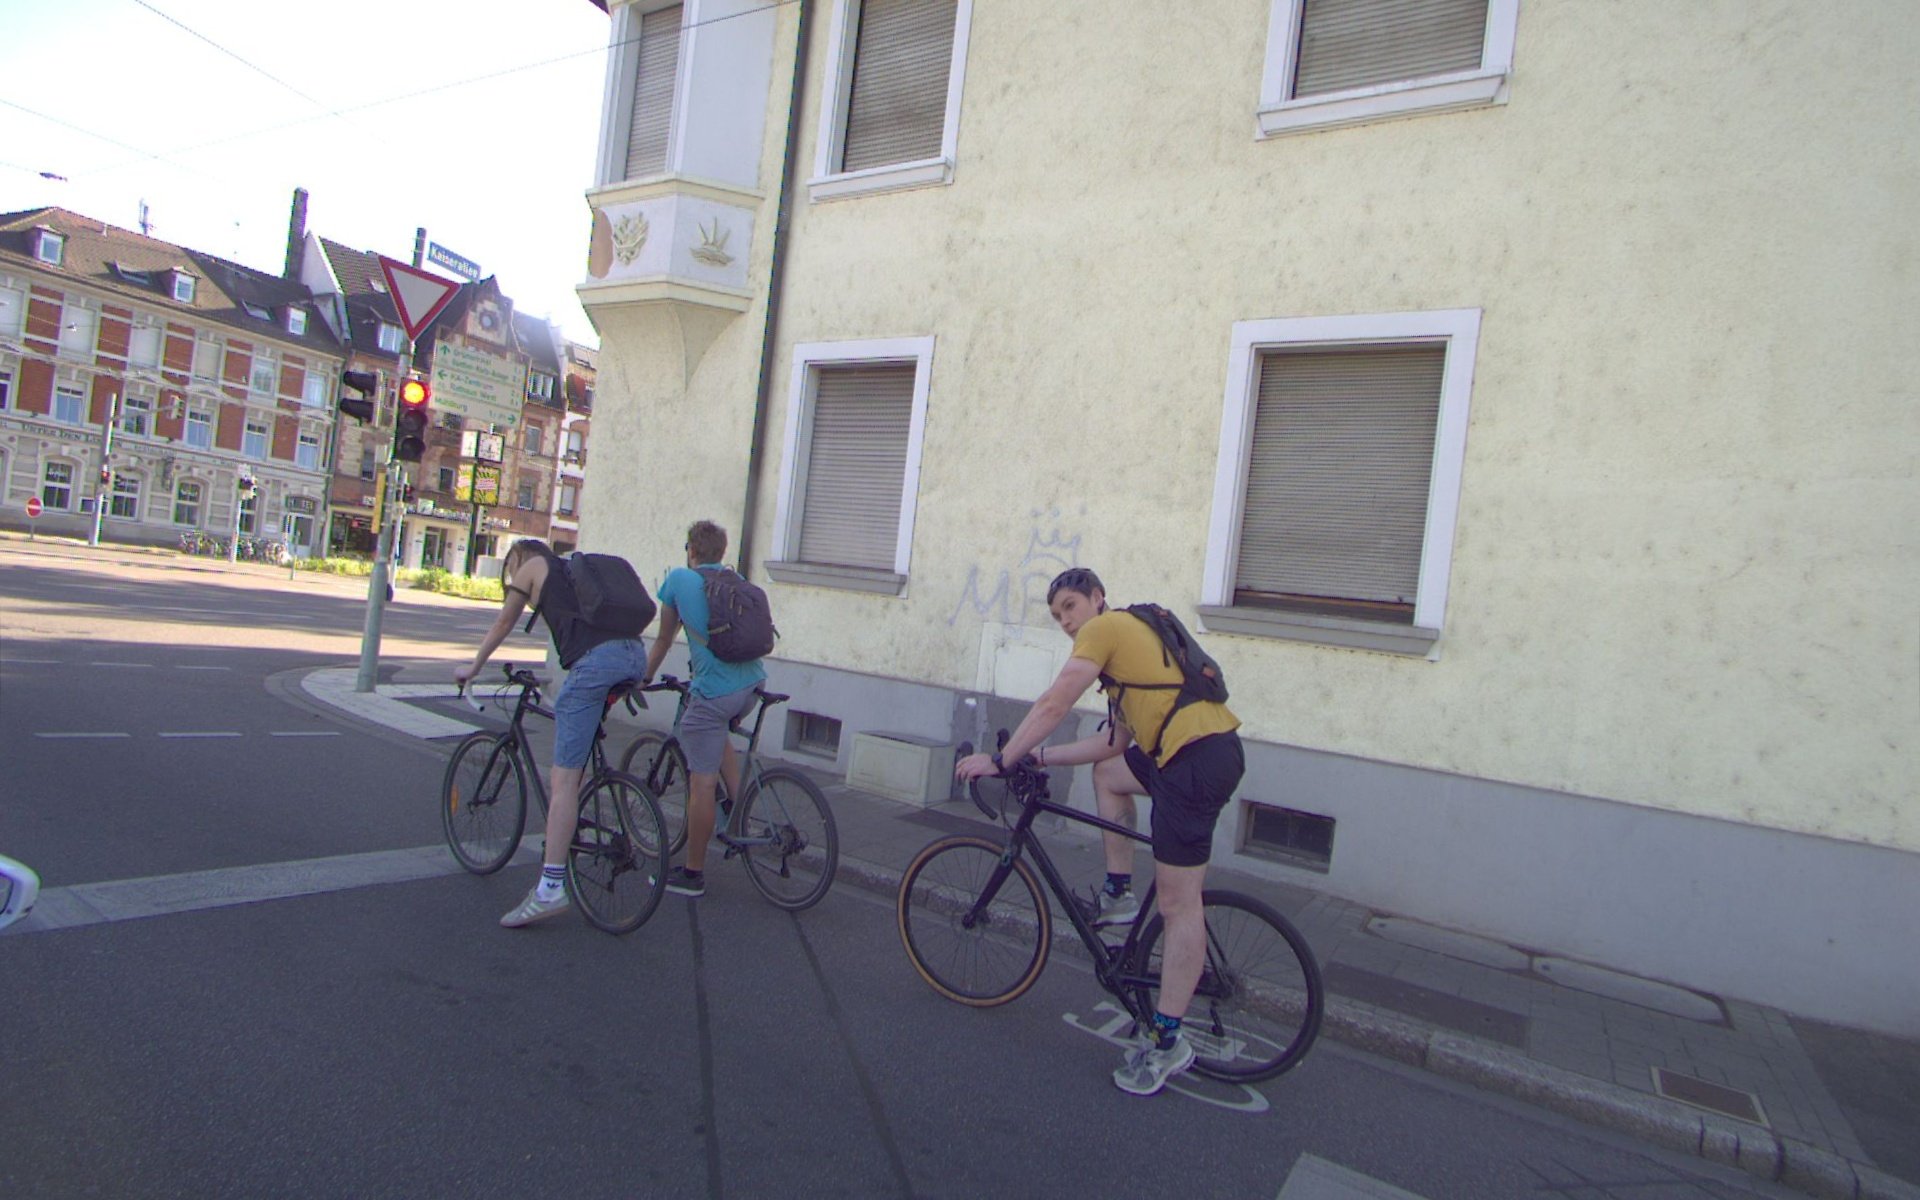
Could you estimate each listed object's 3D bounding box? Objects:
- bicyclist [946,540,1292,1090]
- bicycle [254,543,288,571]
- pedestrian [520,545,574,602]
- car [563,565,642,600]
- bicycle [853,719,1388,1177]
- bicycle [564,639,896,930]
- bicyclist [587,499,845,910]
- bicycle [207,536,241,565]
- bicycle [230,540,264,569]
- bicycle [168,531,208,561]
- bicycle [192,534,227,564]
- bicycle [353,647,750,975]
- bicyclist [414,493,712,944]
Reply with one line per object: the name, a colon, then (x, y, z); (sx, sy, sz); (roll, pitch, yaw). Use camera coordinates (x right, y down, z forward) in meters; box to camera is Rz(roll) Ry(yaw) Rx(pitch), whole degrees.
bicyclist: (0.596, 0.712, 3.775); (0.939, 1.742, 0.582); (7, 0, 32)
bicycle: (-33.117, -2.074, 48.323); (2.102, 1.150, 0.609); (7, 0, 37)
pedestrian: (-16.570, -1.046, 40.386); (1.285, 2.068, 1.321); (7, 0, 31)
car: (-23.174, -1.132, 65.329); (2.116, 1.660, 4.340); (7, -1, 31)
bicycle: (0.545, 1.142, 3.777); (1.780, 1.101, 0.611); (7, 0, 32)
bicycle: (-1.260, 0.880, 5.291); (1.784, 1.130, 0.519); (7, 0, 34)
bicyclist: (-1.276, 0.494, 5.256); (0.961, 1.917, 0.602); (6, -1, 34)
bicycle: (-34.215, -2.314, 46.767); (2.140, 1.157, 0.618); (7, 0, 37)
bicycle: (-33.682, -2.167, 47.519); (2.140, 1.157, 0.618); (7, 0, 37)
bicycle: (-35.064, -2.452, 45.687); (2.140, 1.157, 0.806); (7, 0, 37)
bicycle: (-34.550, -2.362, 46.290); (2.140, 1.157, 0.618); (7, 0, 37)
bicycle: (-1.920, 0.849, 4.602); (1.897, 1.023, 0.645); (7, 0, 34)
bicyclist: (-1.809, 0.467, 4.556); (1.083, 1.775, 0.562); (7, 0, 34)
